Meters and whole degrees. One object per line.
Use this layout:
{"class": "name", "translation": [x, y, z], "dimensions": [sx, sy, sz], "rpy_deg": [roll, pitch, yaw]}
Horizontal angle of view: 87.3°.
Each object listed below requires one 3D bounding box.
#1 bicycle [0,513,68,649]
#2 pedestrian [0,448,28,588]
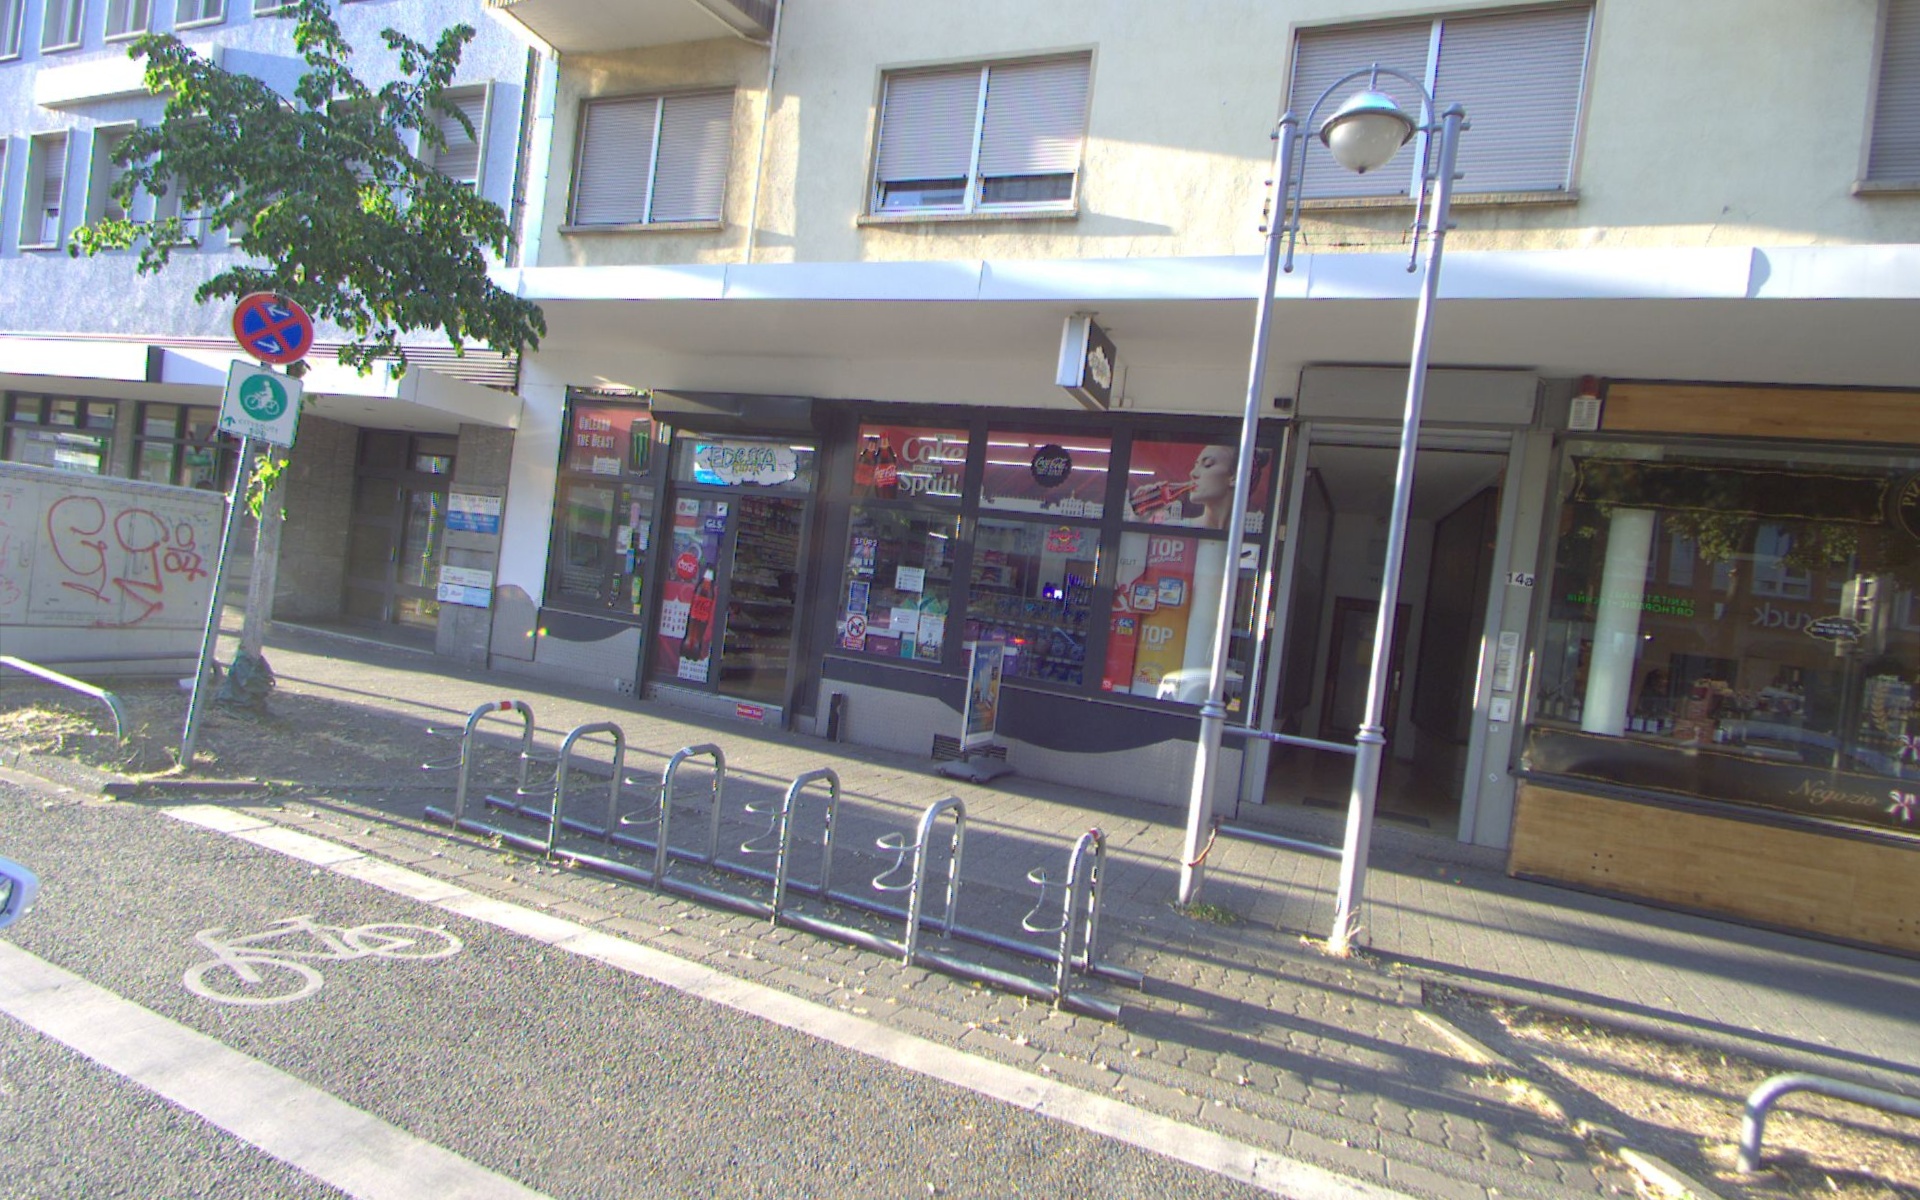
{"class": "bicycle", "translation": [-9.156, -0.223, 9.127], "dimensions": [0.376, 1.234, 1.446], "rpy_deg": [7, -1, 25]}
{"class": "pedestrian", "translation": [-13.288, -1.147, 13.497], "dimensions": [0.666, 1.865, 0.837], "rpy_deg": [7, 1, 24]}
